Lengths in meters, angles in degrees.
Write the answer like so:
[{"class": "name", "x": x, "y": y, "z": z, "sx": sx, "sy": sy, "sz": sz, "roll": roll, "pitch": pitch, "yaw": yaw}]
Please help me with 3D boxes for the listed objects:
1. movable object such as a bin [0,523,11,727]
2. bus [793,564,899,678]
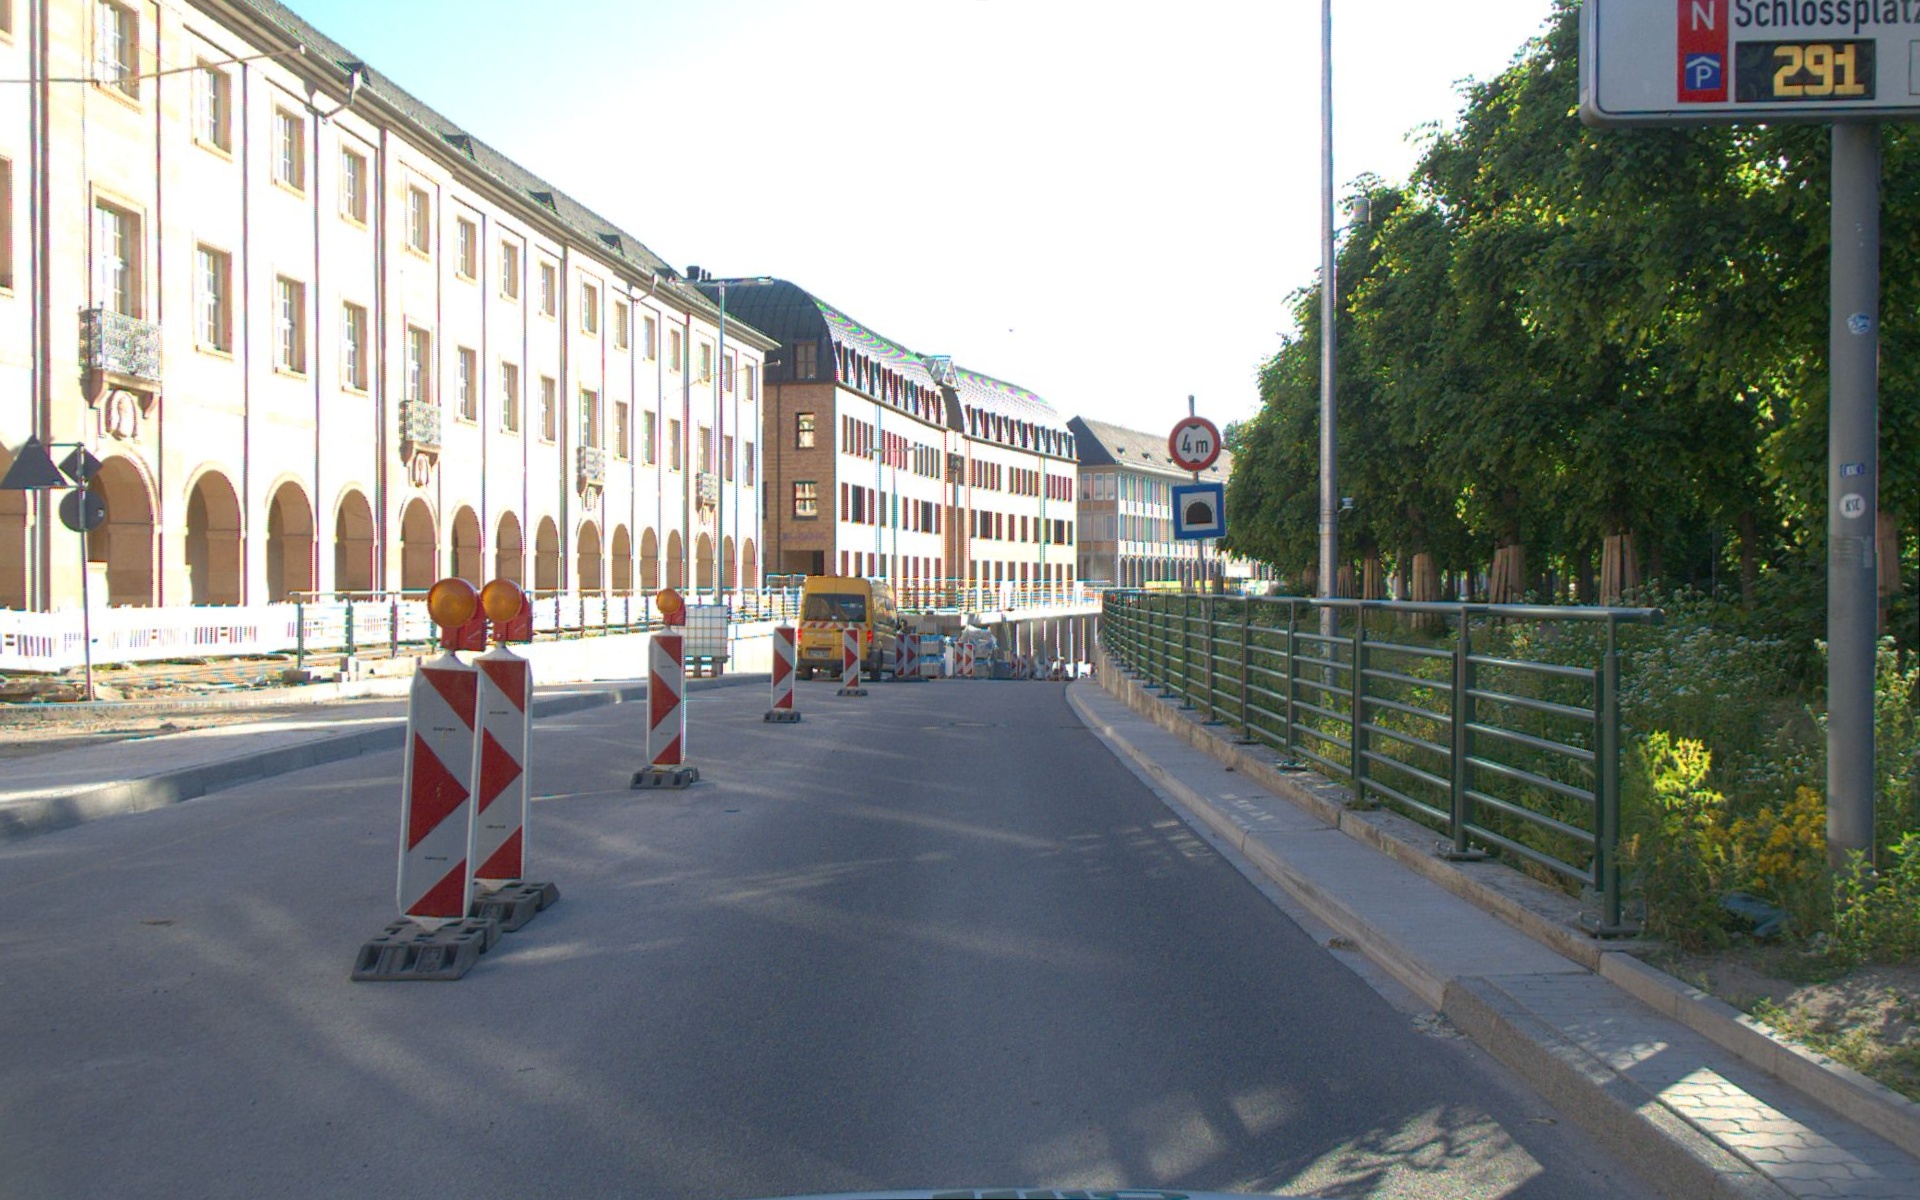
[{"class": "movable object such as a bin", "x": -12.611, "y": 0.320, "z": 17.408, "sx": 2.493, "sy": 2.390, "sz": 4.462, "roll": 0, "pitch": 0, "yaw": 3}, {"class": "bus", "x": -2.832, "y": 0.565, "z": 42.146, "sx": 2.029, "sy": 2.734, "sz": 4.685, "roll": 0, "pitch": -2, "yaw": 5}]
